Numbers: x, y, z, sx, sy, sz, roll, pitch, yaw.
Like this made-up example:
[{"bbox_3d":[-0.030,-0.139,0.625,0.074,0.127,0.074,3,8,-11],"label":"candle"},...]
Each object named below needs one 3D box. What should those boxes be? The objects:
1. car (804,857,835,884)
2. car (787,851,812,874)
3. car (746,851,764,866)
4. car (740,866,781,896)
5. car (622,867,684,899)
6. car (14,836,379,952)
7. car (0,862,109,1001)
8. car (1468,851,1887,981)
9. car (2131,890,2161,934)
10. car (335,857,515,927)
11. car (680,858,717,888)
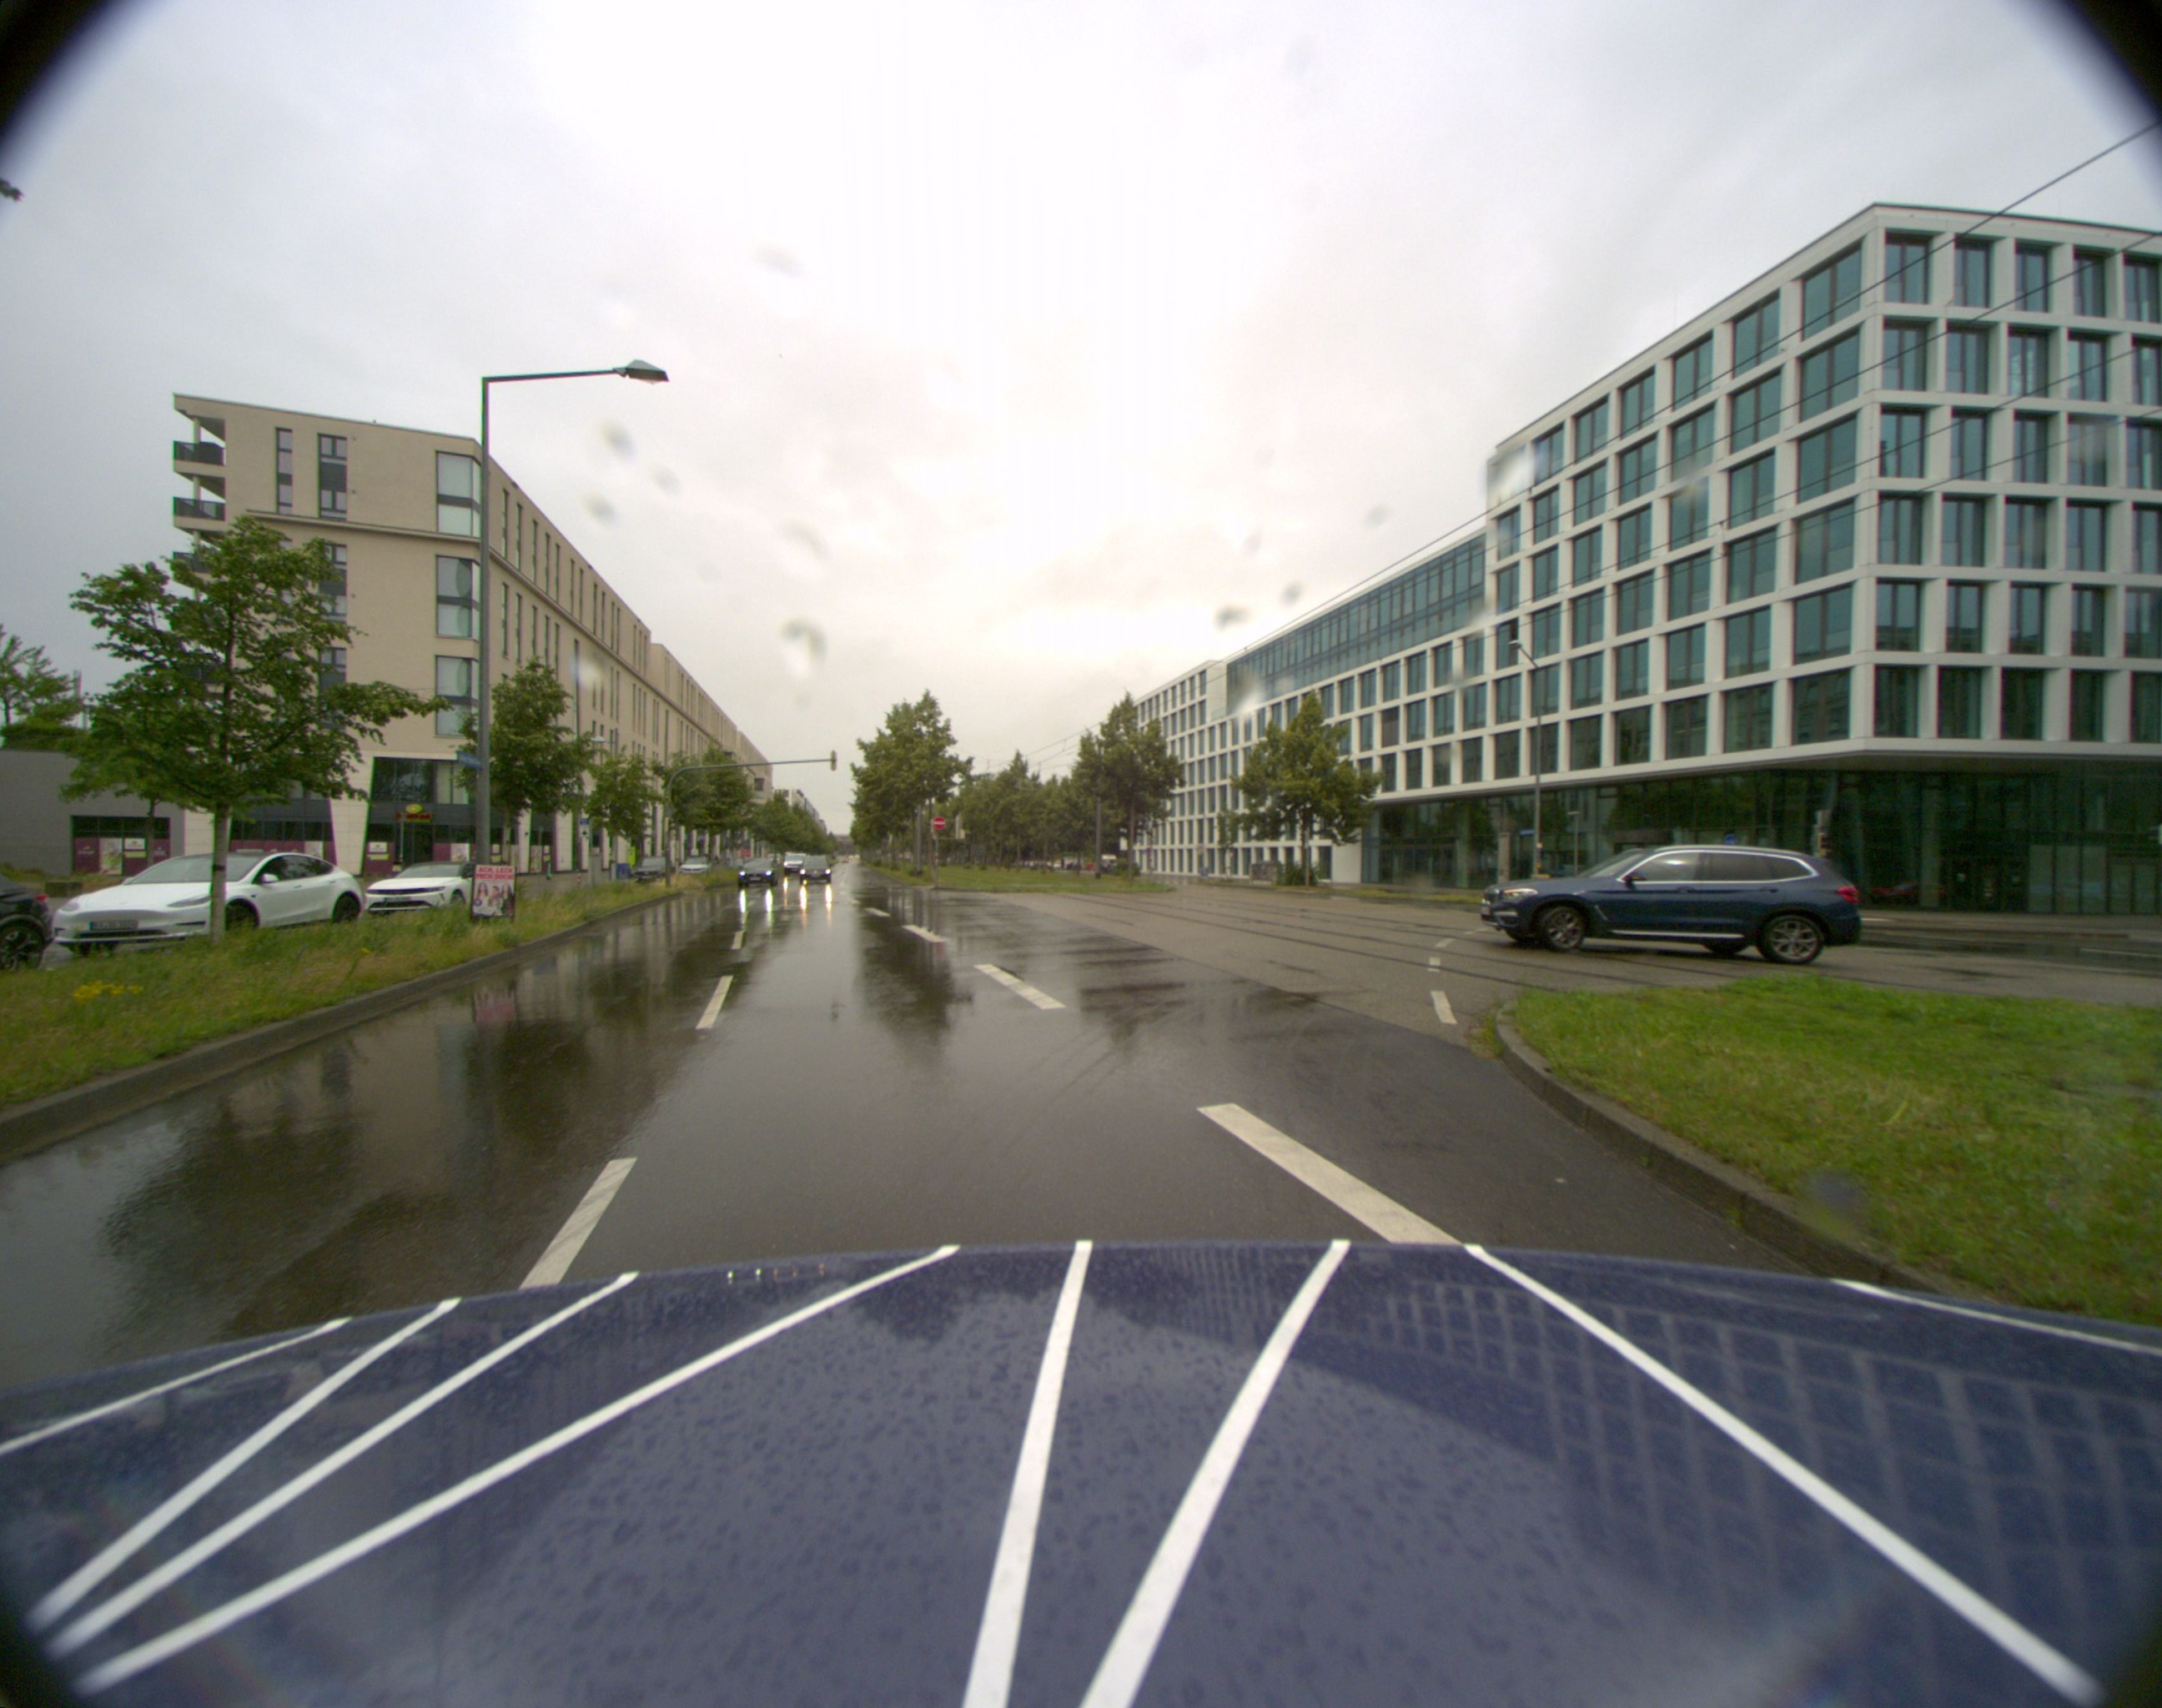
[{"bbox_3d":[-15.554,0.991,45.292,1.659,1.520,3.770,1,-2,-18],"label":"car"},{"bbox_3d":[-24.904,0.802,67.241,1.760,1.914,3.995,0,-2,-16],"label":"car"},{"bbox_3d":[-35.742,0.513,83.358,1.645,1.578,3.923,1,-2,-21],"label":"car"},{"bbox_3d":[-17.199,1.462,40.955,1.689,1.520,3.964,1,-2,-18],"label":"car"},{"bbox_3d":[-23.923,1.609,42.651,2.002,1.697,4.833,1,-2,-17],"label":"car"},{"bbox_3d":[-15.342,0.670,13.723,2.002,1.697,4.833,1,-2,-17],"label":"car"},{"bbox_3d":[-13.844,0.909,8.047,2.002,1.697,4.718,1,-2,-17],"label":"car"},{"bbox_3d":[8.805,0.831,11.799,4.705,1.650,1.932,1,0,18],"label":"car"},{"bbox_3d":[37.727,1.913,25.052,4.094,1.427,1.887,0,-2,-7],"label":"car"},{"bbox_3d":[-17.927,1.010,21.128,2.002,1.697,4.833,1,-2,-17],"label":"car"},{"bbox_3d":[-27.076,1.380,53.922,1.919,2.001,3.994,1,-2,-21],"label":"car"}]
